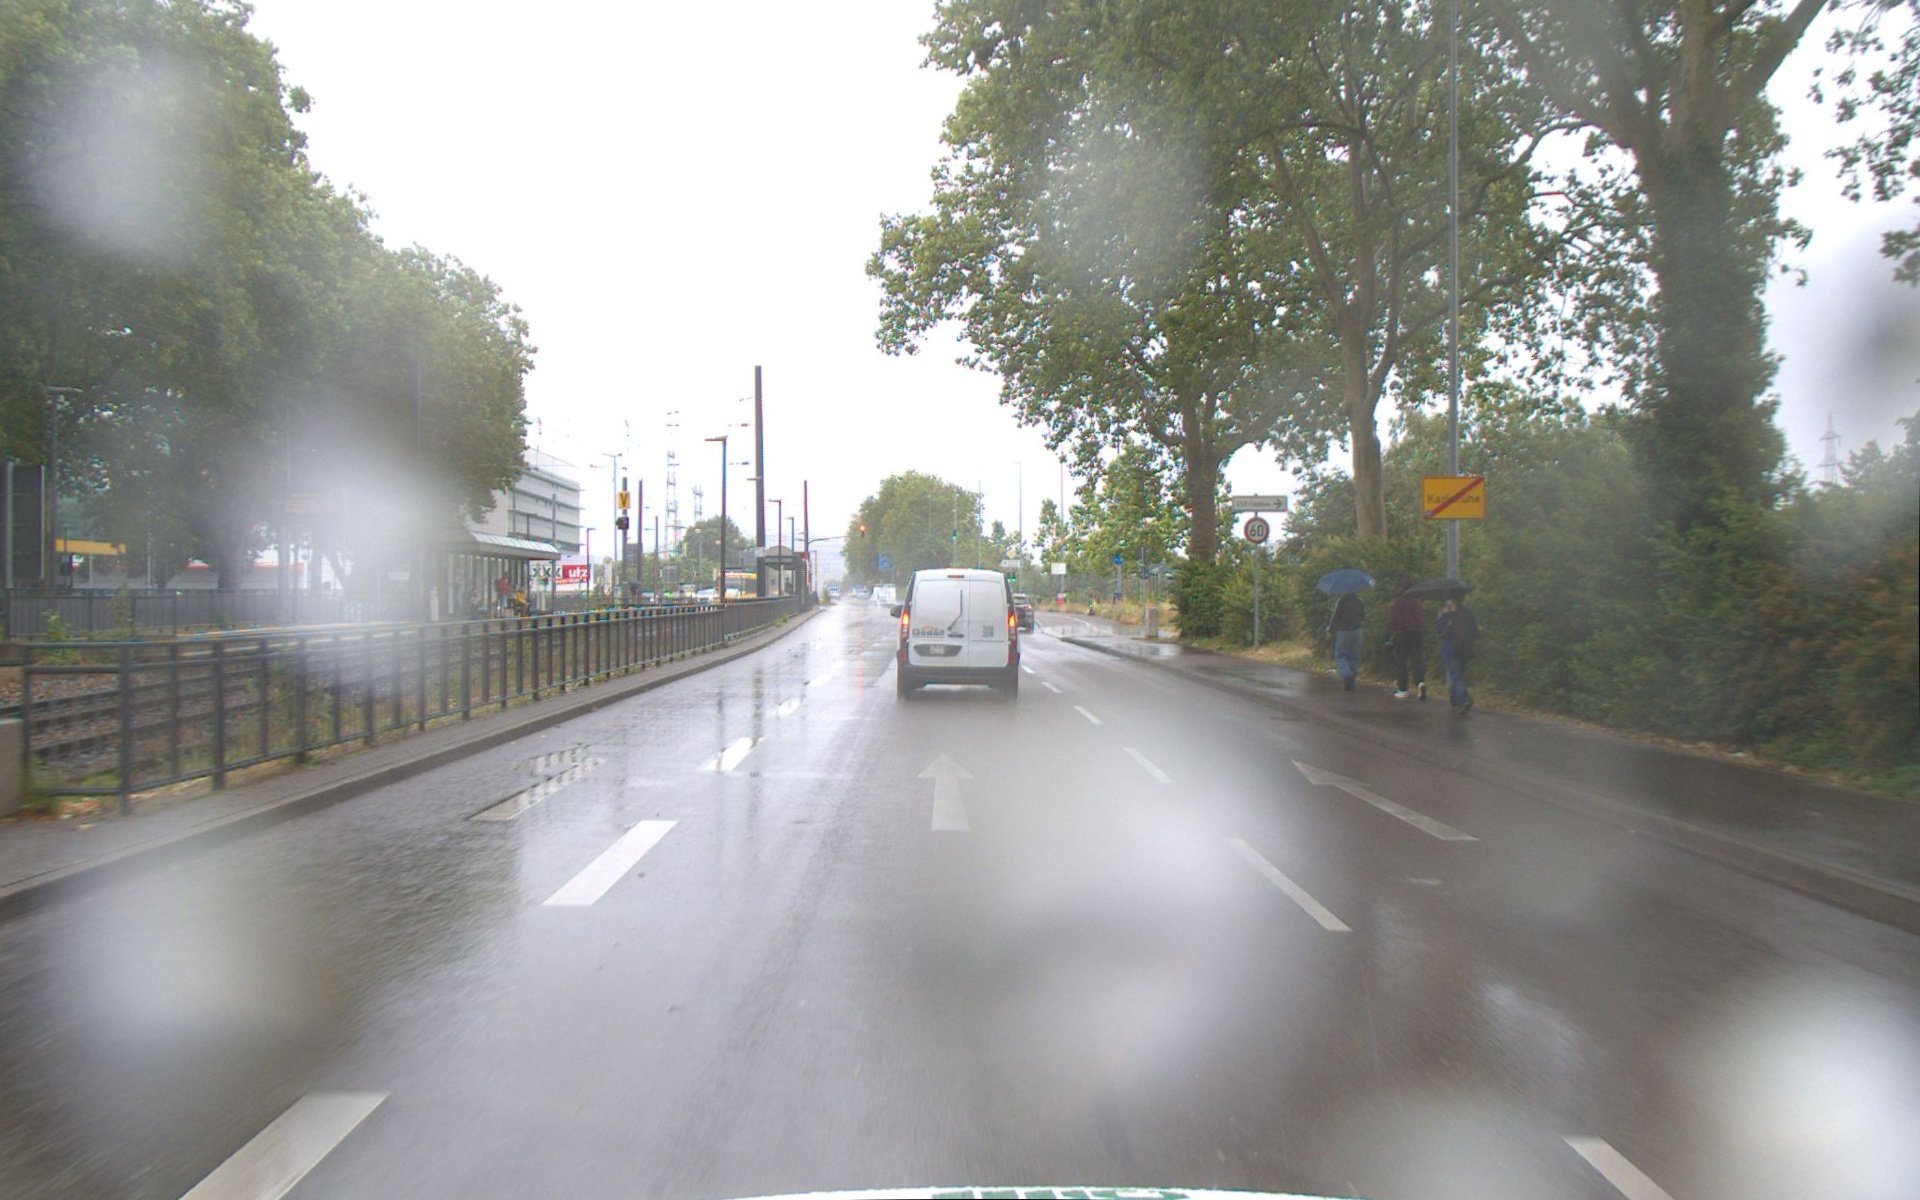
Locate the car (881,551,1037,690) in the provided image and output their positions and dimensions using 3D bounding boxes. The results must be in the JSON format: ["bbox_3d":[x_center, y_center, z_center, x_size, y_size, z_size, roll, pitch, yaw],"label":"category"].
[{"bbox_3d":[-0.111,0.269,24.381,1.985,1.806,4.271,2,0,-4],"label":"car"}]

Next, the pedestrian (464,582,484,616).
[{"bbox_3d":[-18.386,-0.034,62.600,0.483,1.290,0.664,2,0,2],"label":"pedestrian"}]

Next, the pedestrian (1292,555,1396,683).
[{"bbox_3d":[5.678,0.278,24.509,1.215,1.817,1.147,-2,0,-1],"label":"pedestrian"}]

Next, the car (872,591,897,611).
[{"bbox_3d":[-7.140,0.115,156.089,1.956,1.780,3.993,2,0,-8],"label":"car"}]

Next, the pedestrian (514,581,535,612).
[{"bbox_3d":[-19.070,-0.154,72.494,0.630,1.326,0.815,2,0,2],"label":"pedestrian"}]

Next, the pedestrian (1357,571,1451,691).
[{"bbox_3d":[6.185,0.426,23.116,0.927,1.617,1.293,-1,0,-1],"label":"pedestrian"}]

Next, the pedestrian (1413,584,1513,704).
[{"bbox_3d":[6.183,0.527,20.367,0.874,1.414,1.016,-2,0,-1],"label":"pedestrian"}]

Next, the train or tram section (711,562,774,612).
[{"bbox_3d":[-19.925,-1.155,153.790,3.695,4.107,27.074,2,0,-3],"label":"train or tram section"}]

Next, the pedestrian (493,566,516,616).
[{"bbox_3d":[-18.416,-0.356,66.867,0.608,1.967,0.815,2,0,2],"label":"pedestrian"}]

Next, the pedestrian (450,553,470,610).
[{"bbox_3d":[-18.255,-0.674,60.410,0.483,2.049,0.582,2,0,-1],"label":"pedestrian"}]

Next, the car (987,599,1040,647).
[{"bbox_3d":[2.061,0.865,65.111,1.952,1.780,4.000,2,0,1],"label":"car"}]

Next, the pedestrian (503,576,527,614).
[{"bbox_3d":[-18.854,-0.223,70.024,0.815,1.589,0.667,2,0,-28],"label":"pedestrian"}]

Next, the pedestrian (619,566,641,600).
[{"bbox_3d":[-20.587,-1.045,103.147,1.065,2.049,1.097,2,0,3],"label":"pedestrian"}]
